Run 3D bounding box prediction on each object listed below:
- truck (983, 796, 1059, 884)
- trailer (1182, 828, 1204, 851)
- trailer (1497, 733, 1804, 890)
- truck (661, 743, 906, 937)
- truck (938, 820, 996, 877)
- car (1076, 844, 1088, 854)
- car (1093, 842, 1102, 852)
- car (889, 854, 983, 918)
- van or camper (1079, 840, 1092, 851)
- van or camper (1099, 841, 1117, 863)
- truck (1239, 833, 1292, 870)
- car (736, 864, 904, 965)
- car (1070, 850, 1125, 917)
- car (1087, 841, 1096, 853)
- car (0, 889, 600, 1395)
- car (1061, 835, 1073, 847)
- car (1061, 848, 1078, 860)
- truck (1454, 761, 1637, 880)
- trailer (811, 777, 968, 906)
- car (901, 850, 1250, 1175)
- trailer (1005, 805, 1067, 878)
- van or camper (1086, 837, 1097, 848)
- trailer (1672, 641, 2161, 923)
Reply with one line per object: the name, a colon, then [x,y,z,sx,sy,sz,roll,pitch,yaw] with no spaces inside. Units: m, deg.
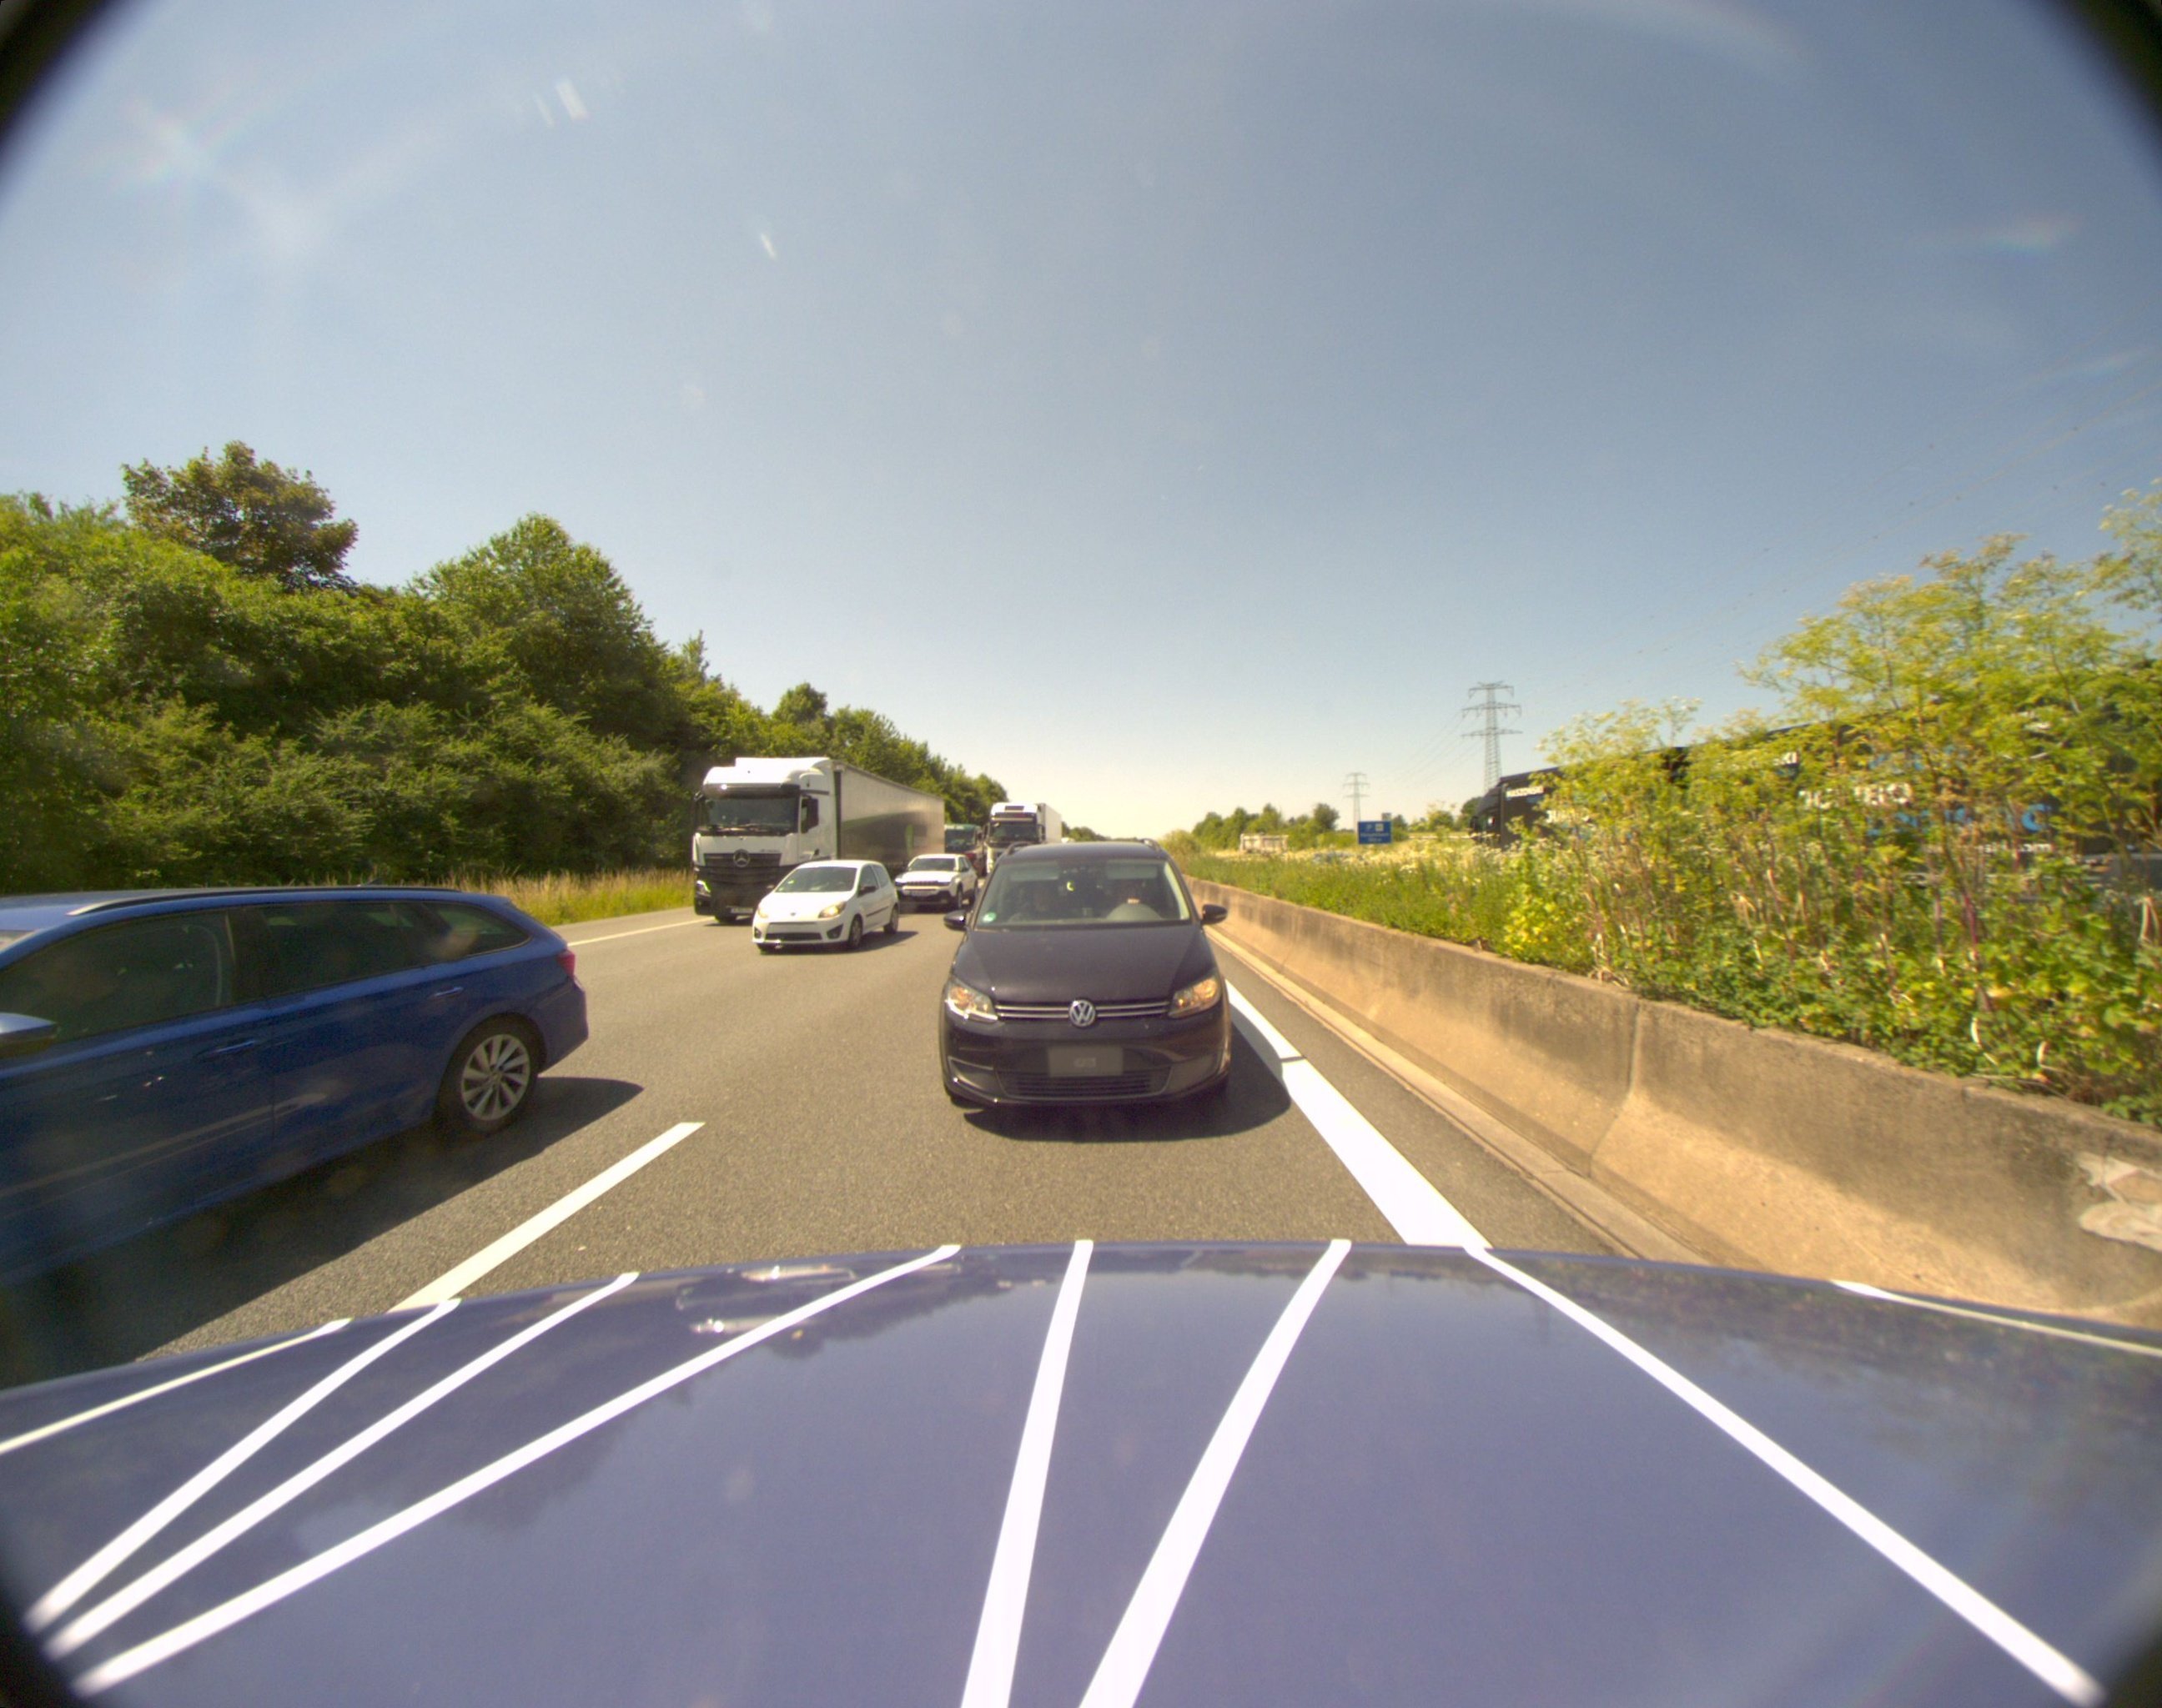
truck: [-2.893,-0.684,39.058,2.750,3.972,8.361,-1,1,3]
trailer: [21.602,-2.839,147.436,3.019,4.203,10.980,-1,1,2]
trailer: [15.884,-1.049,22.243,3.132,3.737,7.869,-1,1,1]
truck: [-7.454,-0.356,20.786,2.879,4.133,8.475,-1,1,3]
truck: [-6.739,-0.366,45.598,2.299,3.128,5.675,-1,1,3]
car: [0.185,-0.867,123.877,1.652,1.636,4.000,-1,1,3]
car: [3.985,-1.646,179.613,1.998,2.302,4.229,-1,1,2]
car: [-3.943,0.807,21.225,1.748,1.549,3.884,0,1,2]
van or camper: [0.811,-1.560,140.693,2.189,2.018,4.364,-1,1,3]
van or camper: [3.220,-0.251,89.479,1.956,2.368,4.037,-3,1,3]
truck: [17.821,-0.306,74.404,2.771,3.269,11.819,-1,1,2]
car: [-4.463,0.960,13.608,1.609,1.426,3.809,0,1,1]
car: [0.495,0.753,21.144,1.357,1.630,2.994,-3,1,3]
car: [2.215,-1.489,160.456,1.998,2.302,4.229,-2,1,1]
car: [-4.281,0.995,2.909,1.780,1.408,4.572,0,1,3]
car: [-2.540,-2.340,137.880,1.998,2.002,4.000,-1,1,2]
car: [-1.310,-0.041,87.483,1.650,1.336,3.381,-1,1,3]
truck: [15.933,-1.064,26.596,3.079,3.688,5.462,-1,1,1]
trailer: [-7.109,-0.484,30.698,2.880,4.133,12.074,-1,1,1]
car: [0.061,0.808,6.535,1.758,1.571,5.291,-1,1,2]
trailer: [-2.580,-0.766,46.728,2.776,3.951,9.156,-1,1,3]
van or camper: [2.729,-2.895,193.885,2.745,2.680,5.363,-1,1,2]
trailer: [15.761,-1.004,14.177,3.190,3.740,8.200,-1,0,1]
